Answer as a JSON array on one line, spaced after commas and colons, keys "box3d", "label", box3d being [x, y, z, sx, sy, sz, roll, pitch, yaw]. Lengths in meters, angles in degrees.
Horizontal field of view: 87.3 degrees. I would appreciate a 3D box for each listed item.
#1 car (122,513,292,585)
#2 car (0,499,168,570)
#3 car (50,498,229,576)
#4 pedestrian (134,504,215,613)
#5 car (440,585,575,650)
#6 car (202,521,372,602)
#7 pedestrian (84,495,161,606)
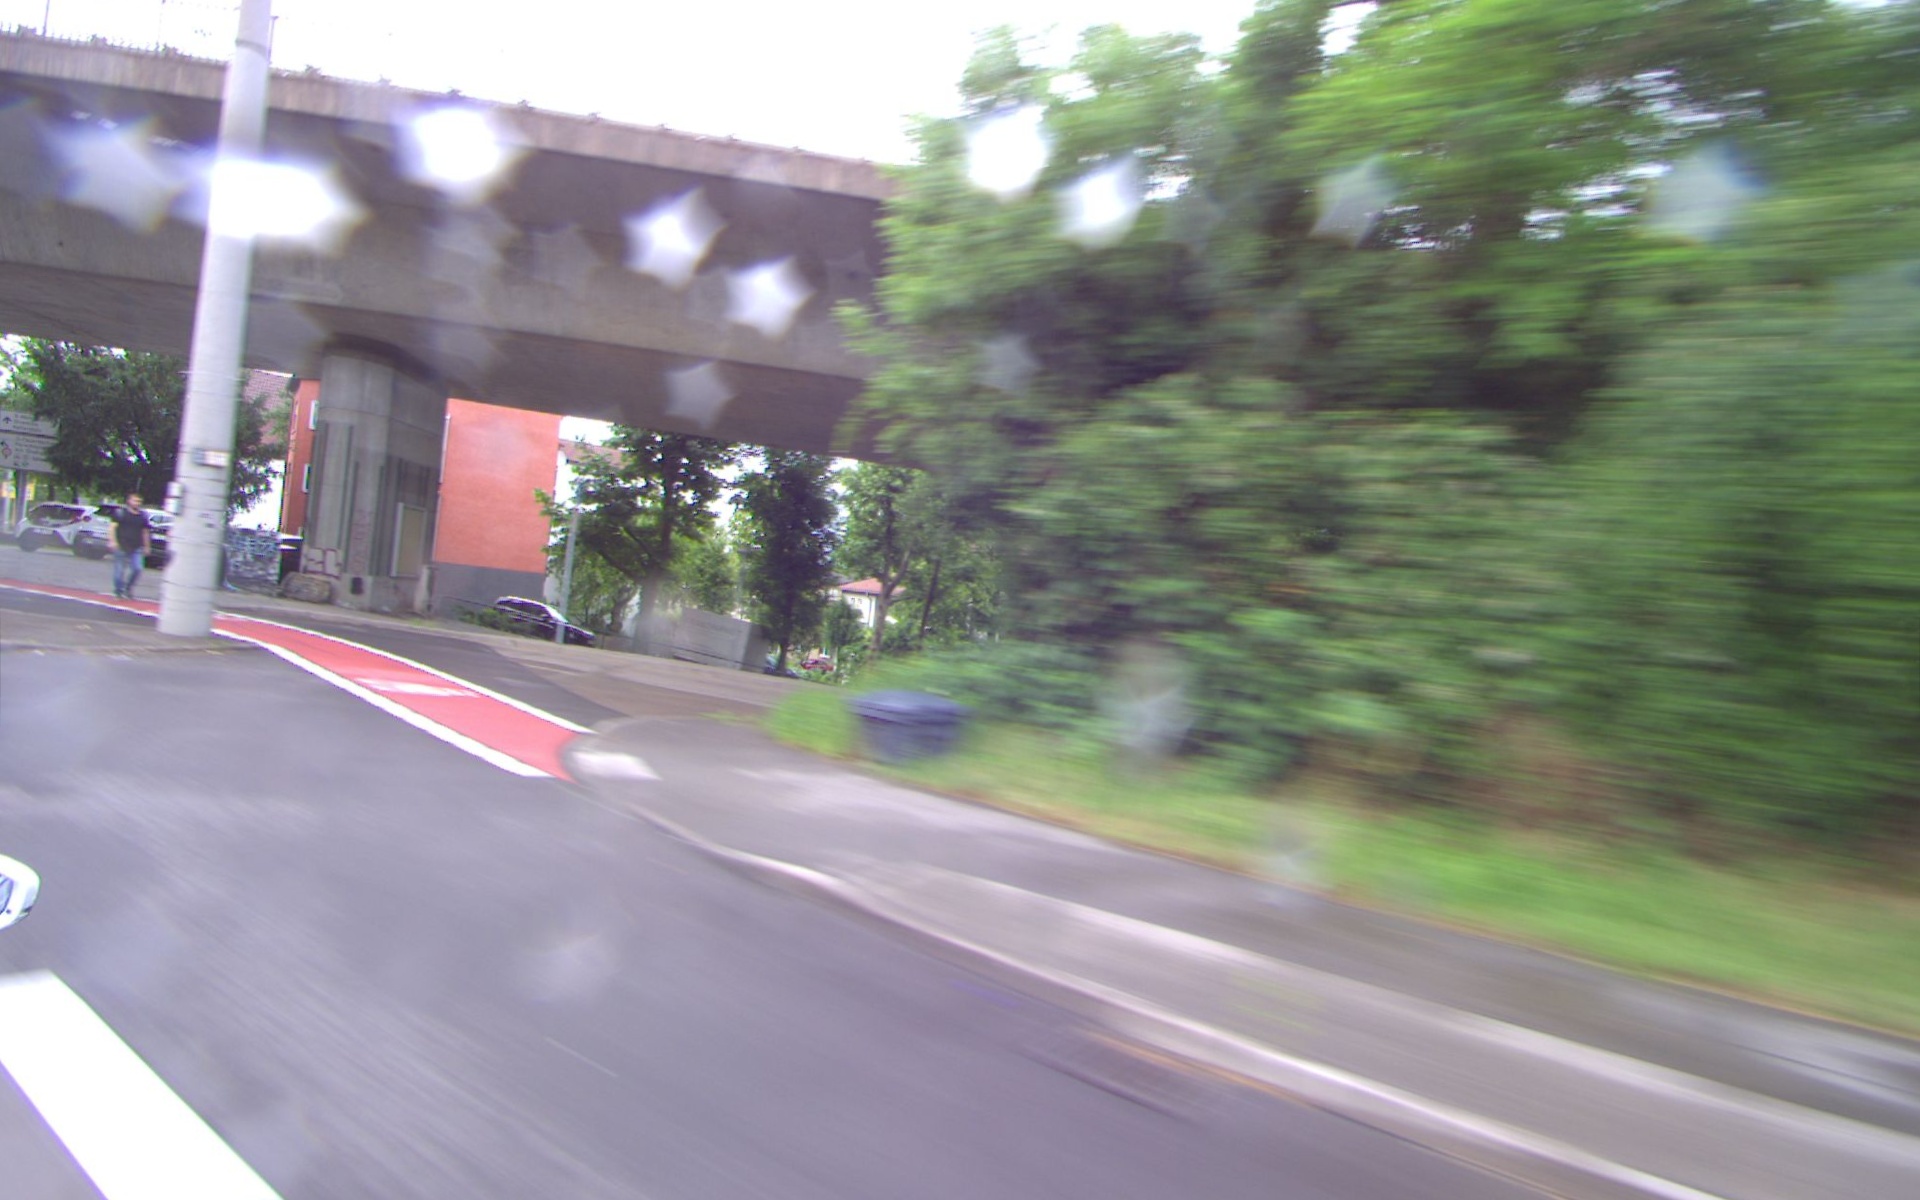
[{"box3d": [-20.814, -1.342, 28.043, 1.755, 1.456, 4.050, 8, -2, -4], "label": "car"}, {"box3d": [-26.043, -1.888, 30.094, 1.770, 1.539, 3.736, 7, -2, -4], "label": "car"}, {"box3d": [-23.696, -1.760, 29.280, 1.932, 1.649, 4.024, 7, -2, -4], "label": "car"}, {"box3d": [-14.386, -0.759, 18.421, 0.893, 1.842, 0.599, 6, -2, 22], "label": "pedestrian"}, {"box3d": [-16.359, 0.647, 36.448, 3.972, 1.613, 1.980, 11, -4, -37], "label": "car"}, {"box3d": [-18.244, -0.961, 27.527, 1.871, 1.588, 4.004, 7, -3, -2], "label": "car"}, {"box3d": [-14.621, -0.864, 17.560, 0.823, 1.828, 0.626, 5, -3, 34], "label": "pedestrian"}]
